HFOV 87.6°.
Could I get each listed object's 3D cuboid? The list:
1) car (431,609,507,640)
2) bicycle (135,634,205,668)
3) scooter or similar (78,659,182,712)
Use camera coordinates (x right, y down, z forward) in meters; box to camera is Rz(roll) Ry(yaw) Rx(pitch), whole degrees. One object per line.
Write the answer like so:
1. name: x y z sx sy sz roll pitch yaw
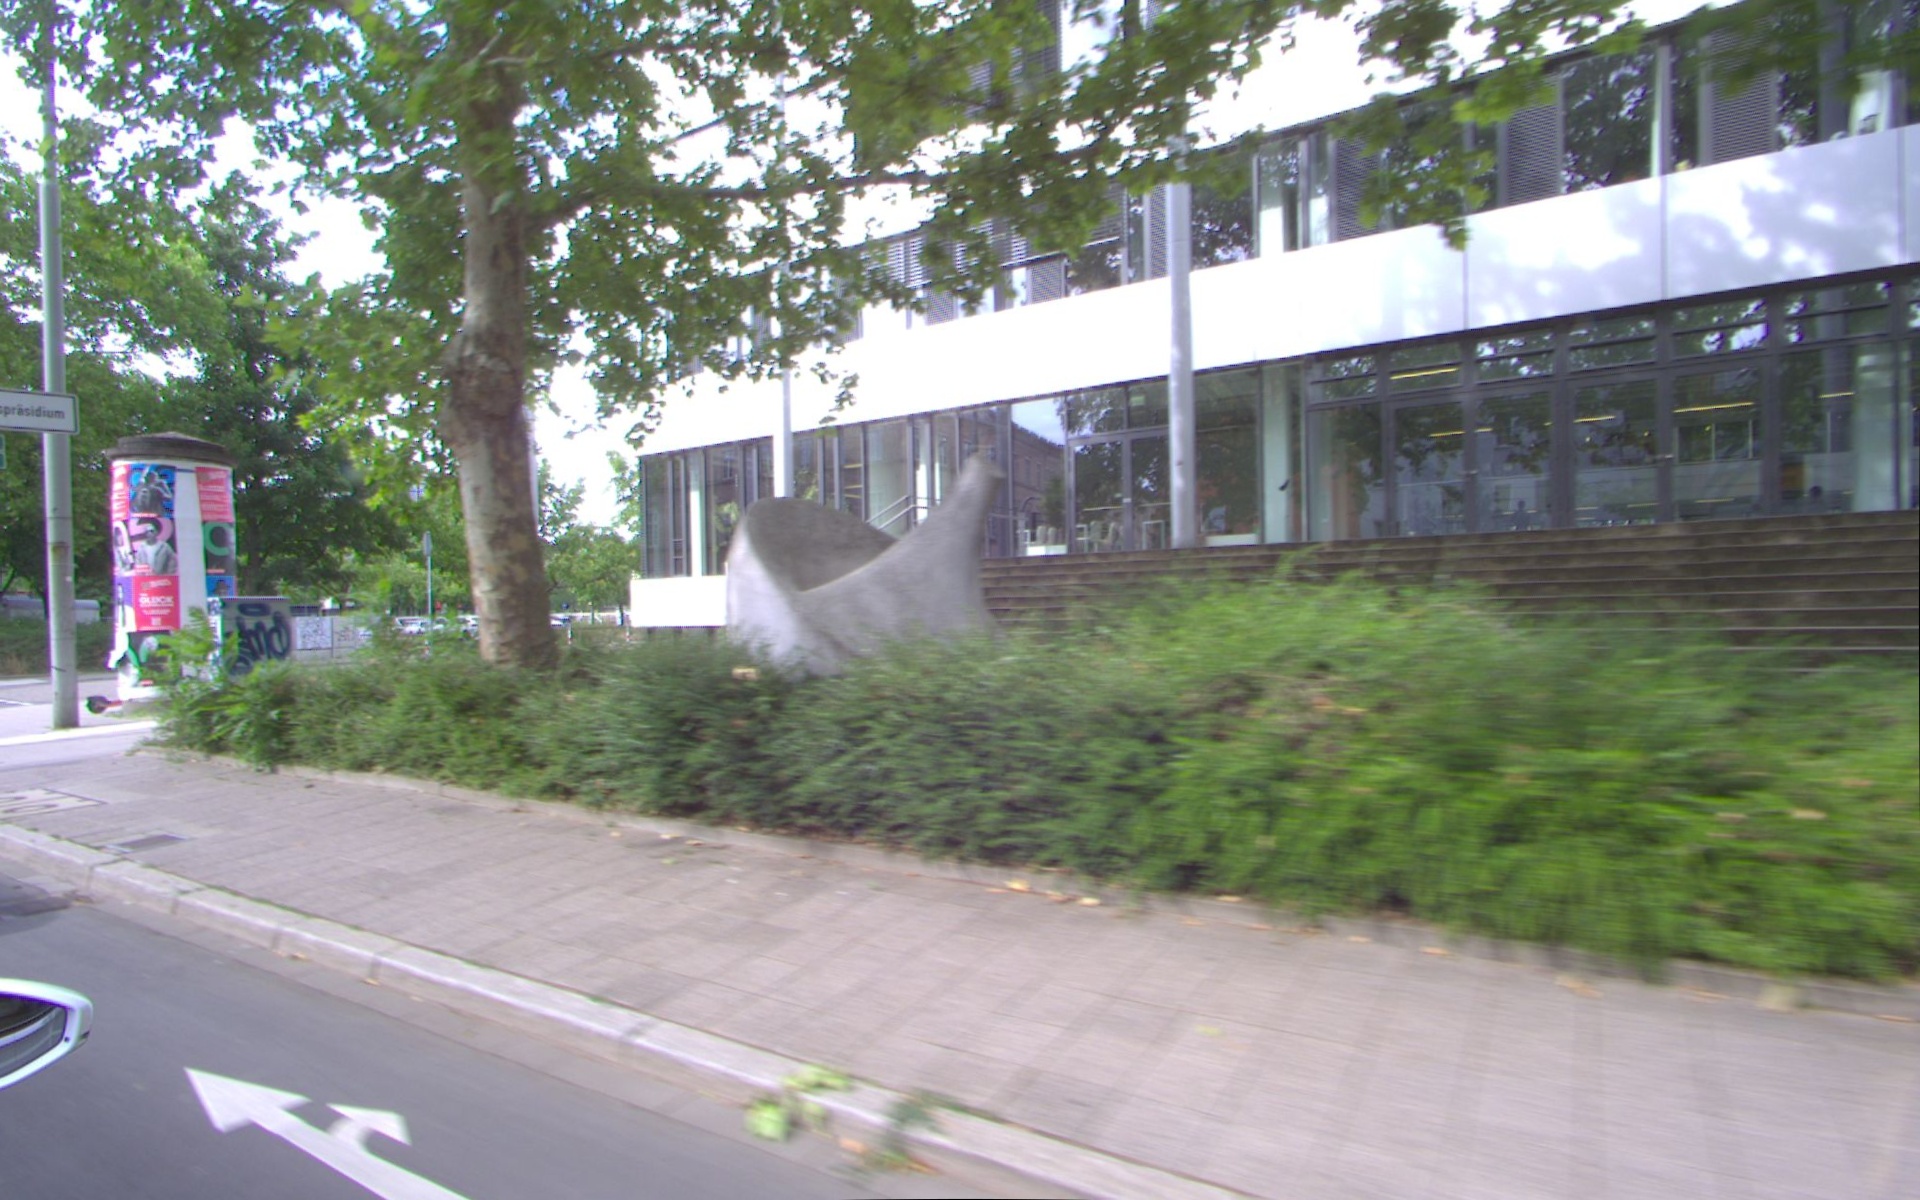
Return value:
1. car: -28.105 1.406 57.326 4.091 1.673 1.958 -1 0 30
2. bicycle: -22.628 1.441 28.703 0.547 0.897 1.467 -1 0 32
3. scooter or similar: -13.238 1.342 15.991 0.364 0.746 1.216 -1 0 32
